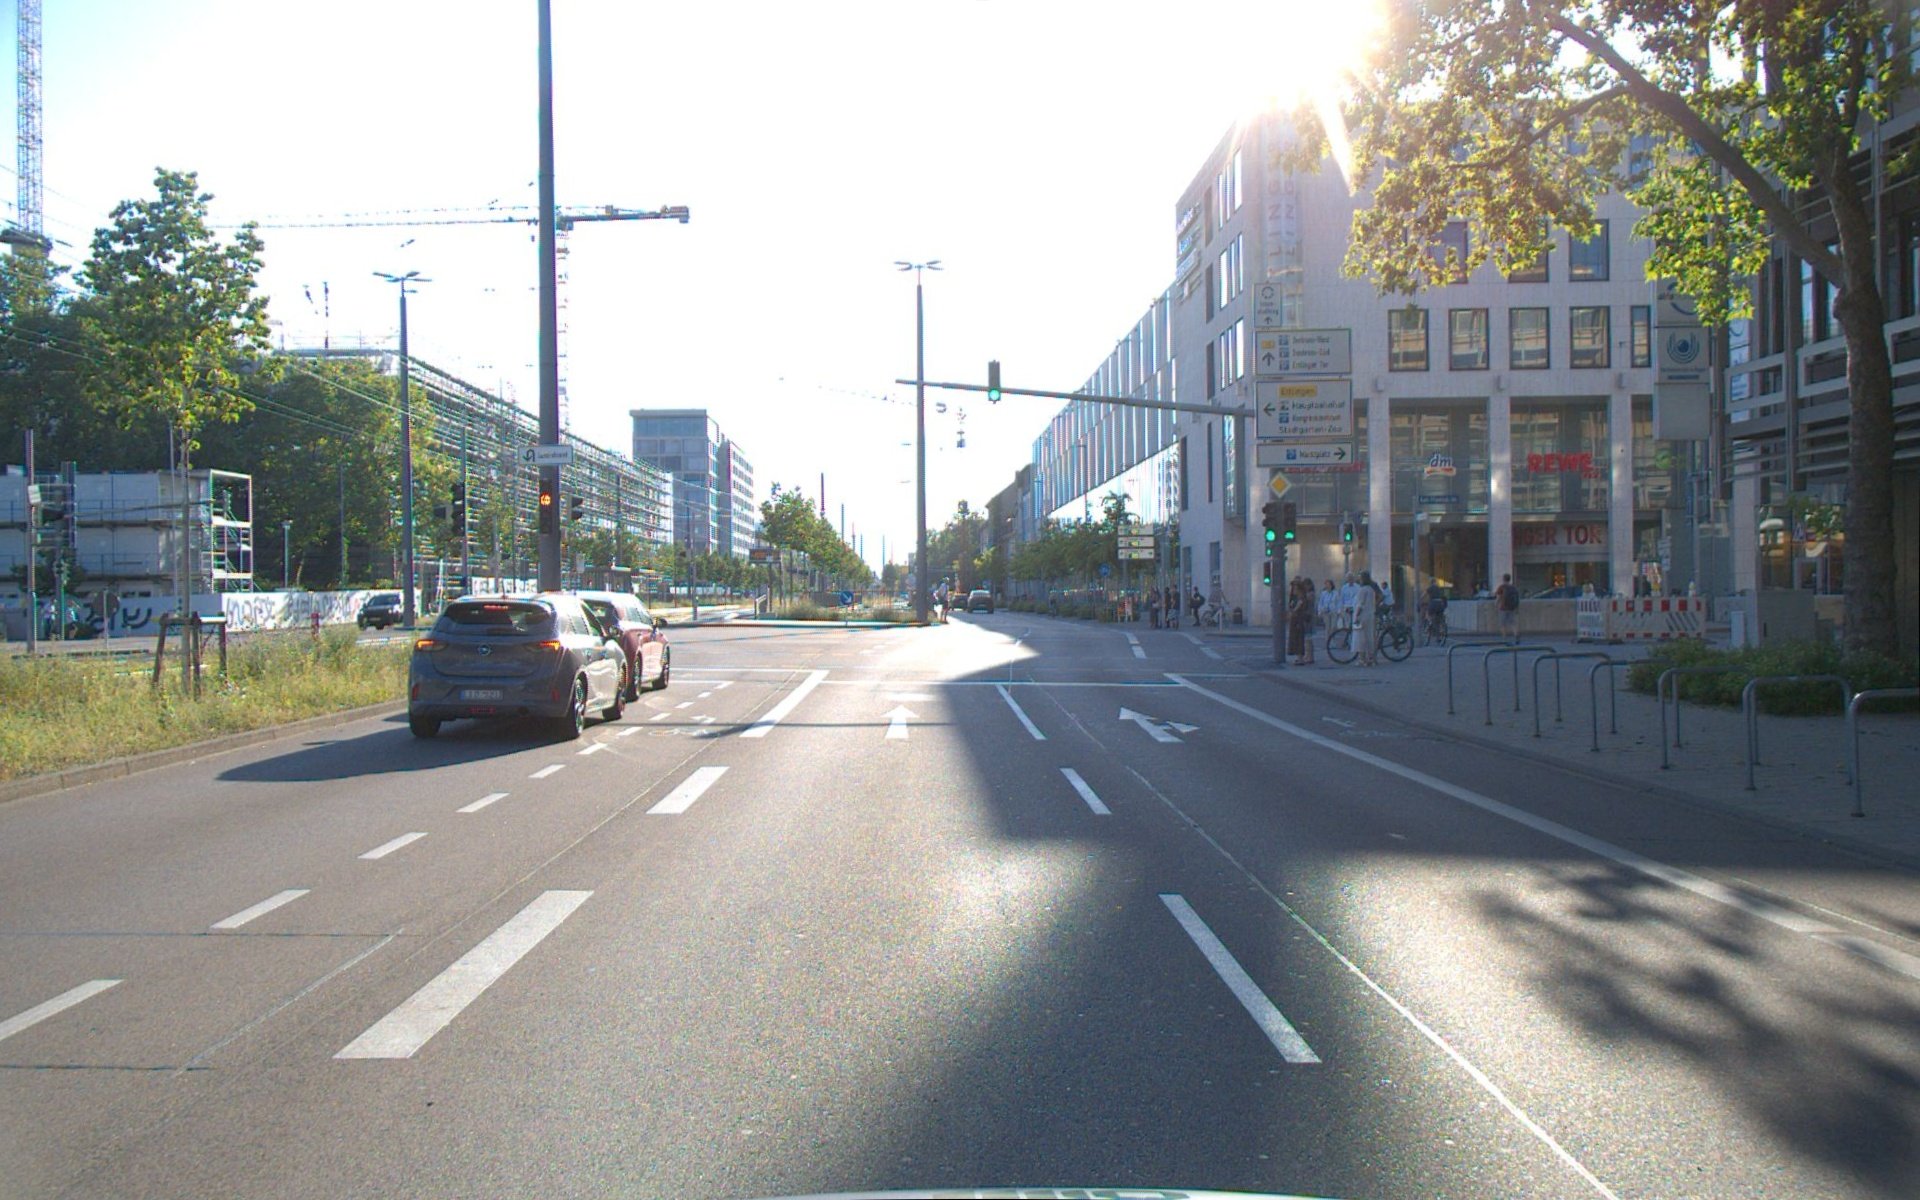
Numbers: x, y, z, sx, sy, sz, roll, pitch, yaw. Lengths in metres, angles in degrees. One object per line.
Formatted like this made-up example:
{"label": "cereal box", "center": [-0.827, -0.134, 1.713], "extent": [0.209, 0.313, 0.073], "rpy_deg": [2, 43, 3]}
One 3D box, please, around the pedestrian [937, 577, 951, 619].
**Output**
{"label": "pedestrian", "center": [-0.682, -0.087, 70.047], "extent": [0.483, 1.774, 0.446], "rpy_deg": [-1, 0, -12]}

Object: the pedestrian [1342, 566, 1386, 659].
{"label": "pedestrian", "center": [7.771, 0.236, 31.818], "extent": [0.621, 1.732, 0.569], "rpy_deg": [-2, 0, -1]}

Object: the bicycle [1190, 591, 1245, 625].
{"label": "bicycle", "center": [9.692, 0.292, 62.184], "extent": [2.244, 1.225, 0.790], "rpy_deg": [-1, 1, -42]}

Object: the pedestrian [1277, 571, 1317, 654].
{"label": "pedestrian", "center": [6.786, 0.240, 33.293], "extent": [0.621, 1.636, 0.569], "rpy_deg": [-2, 0, -1]}

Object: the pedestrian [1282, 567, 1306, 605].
{"label": "pedestrian", "center": [14.863, -0.618, 73.575], "extent": [0.852, 1.613, 0.824], "rpy_deg": [-3, 0, 2]}

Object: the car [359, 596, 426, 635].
{"label": "car", "center": [-27.643, 0.716, 80.679], "extent": [1.953, 1.807, 3.999], "rpy_deg": [-1, 1, -2]}

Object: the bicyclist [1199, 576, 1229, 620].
{"label": "bicyclist", "center": [9.540, -0.064, 62.057], "extent": [0.777, 1.630, 0.791], "rpy_deg": [-1, 0, -39]}

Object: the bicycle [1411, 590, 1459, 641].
{"label": "bicycle", "center": [12.099, 0.390, 42.199], "extent": [0.580, 1.253, 2.153], "rpy_deg": [-1, 1, -1]}

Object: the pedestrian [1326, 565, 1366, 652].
{"label": "pedestrian", "center": [9.458, 0.204, 40.556], "extent": [0.750, 2.096, 0.797], "rpy_deg": [-2, 0, 5]}

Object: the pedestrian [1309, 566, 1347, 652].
{"label": "pedestrian", "center": [9.232, 0.215, 41.565], "extent": [0.750, 2.096, 0.797], "rpy_deg": [-2, 0, 5]}

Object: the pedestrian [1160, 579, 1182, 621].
{"label": "pedestrian", "center": [8.960, -0.014, 70.220], "extent": [0.800, 1.764, 0.790], "rpy_deg": [-1, 0, 2]}

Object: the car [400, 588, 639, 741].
{"label": "car", "center": [-4.634, 0.609, 17.960], "extent": [1.741, 1.453, 3.997], "rpy_deg": [0, 1, -3]}

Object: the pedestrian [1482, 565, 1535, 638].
{"label": "pedestrian", "center": [13.258, 0.026, 40.016], "extent": [0.891, 1.732, 1.113], "rpy_deg": [-1, 0, -1]}

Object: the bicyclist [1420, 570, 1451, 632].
{"label": "bicyclist", "center": [12.095, 0.019, 42.063], "extent": [0.566, 1.549, 0.749], "rpy_deg": [-1, 0, -1]}

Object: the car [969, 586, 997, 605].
{"label": "car", "center": [1.810, -0.344, 130.720], "extent": [1.901, 1.453, 3.923], "rpy_deg": [-1, 1, -3]}

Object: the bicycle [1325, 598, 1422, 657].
{"label": "bicycle", "center": [8.205, 0.541, 32.846], "extent": [1.767, 1.105, 0.479], "rpy_deg": [-2, 0, -1]}

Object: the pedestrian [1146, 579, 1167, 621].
{"label": "pedestrian", "center": [8.484, -0.005, 71.425], "extent": [0.800, 1.764, 0.790], "rpy_deg": [-1, 0, 2]}

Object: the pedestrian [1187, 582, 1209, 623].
{"label": "pedestrian", "center": [10.248, 0.100, 71.249], "extent": [0.800, 1.764, 0.790], "rpy_deg": [-1, 0, 2]}

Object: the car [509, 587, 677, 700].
{"label": "car", "center": [-5.121, 0.555, 23.557], "extent": [1.669, 1.453, 3.924], "rpy_deg": [0, 1, -2]}

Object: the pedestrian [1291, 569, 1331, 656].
{"label": "pedestrian", "center": [7.174, 0.255, 33.840], "extent": [0.621, 1.732, 0.569], "rpy_deg": [-2, 0, -1]}

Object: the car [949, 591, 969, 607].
{"label": "car", "center": [-0.111, -0.084, 155.799], "extent": [1.669, 1.453, 3.923], "rpy_deg": [-1, 1, -3]}
